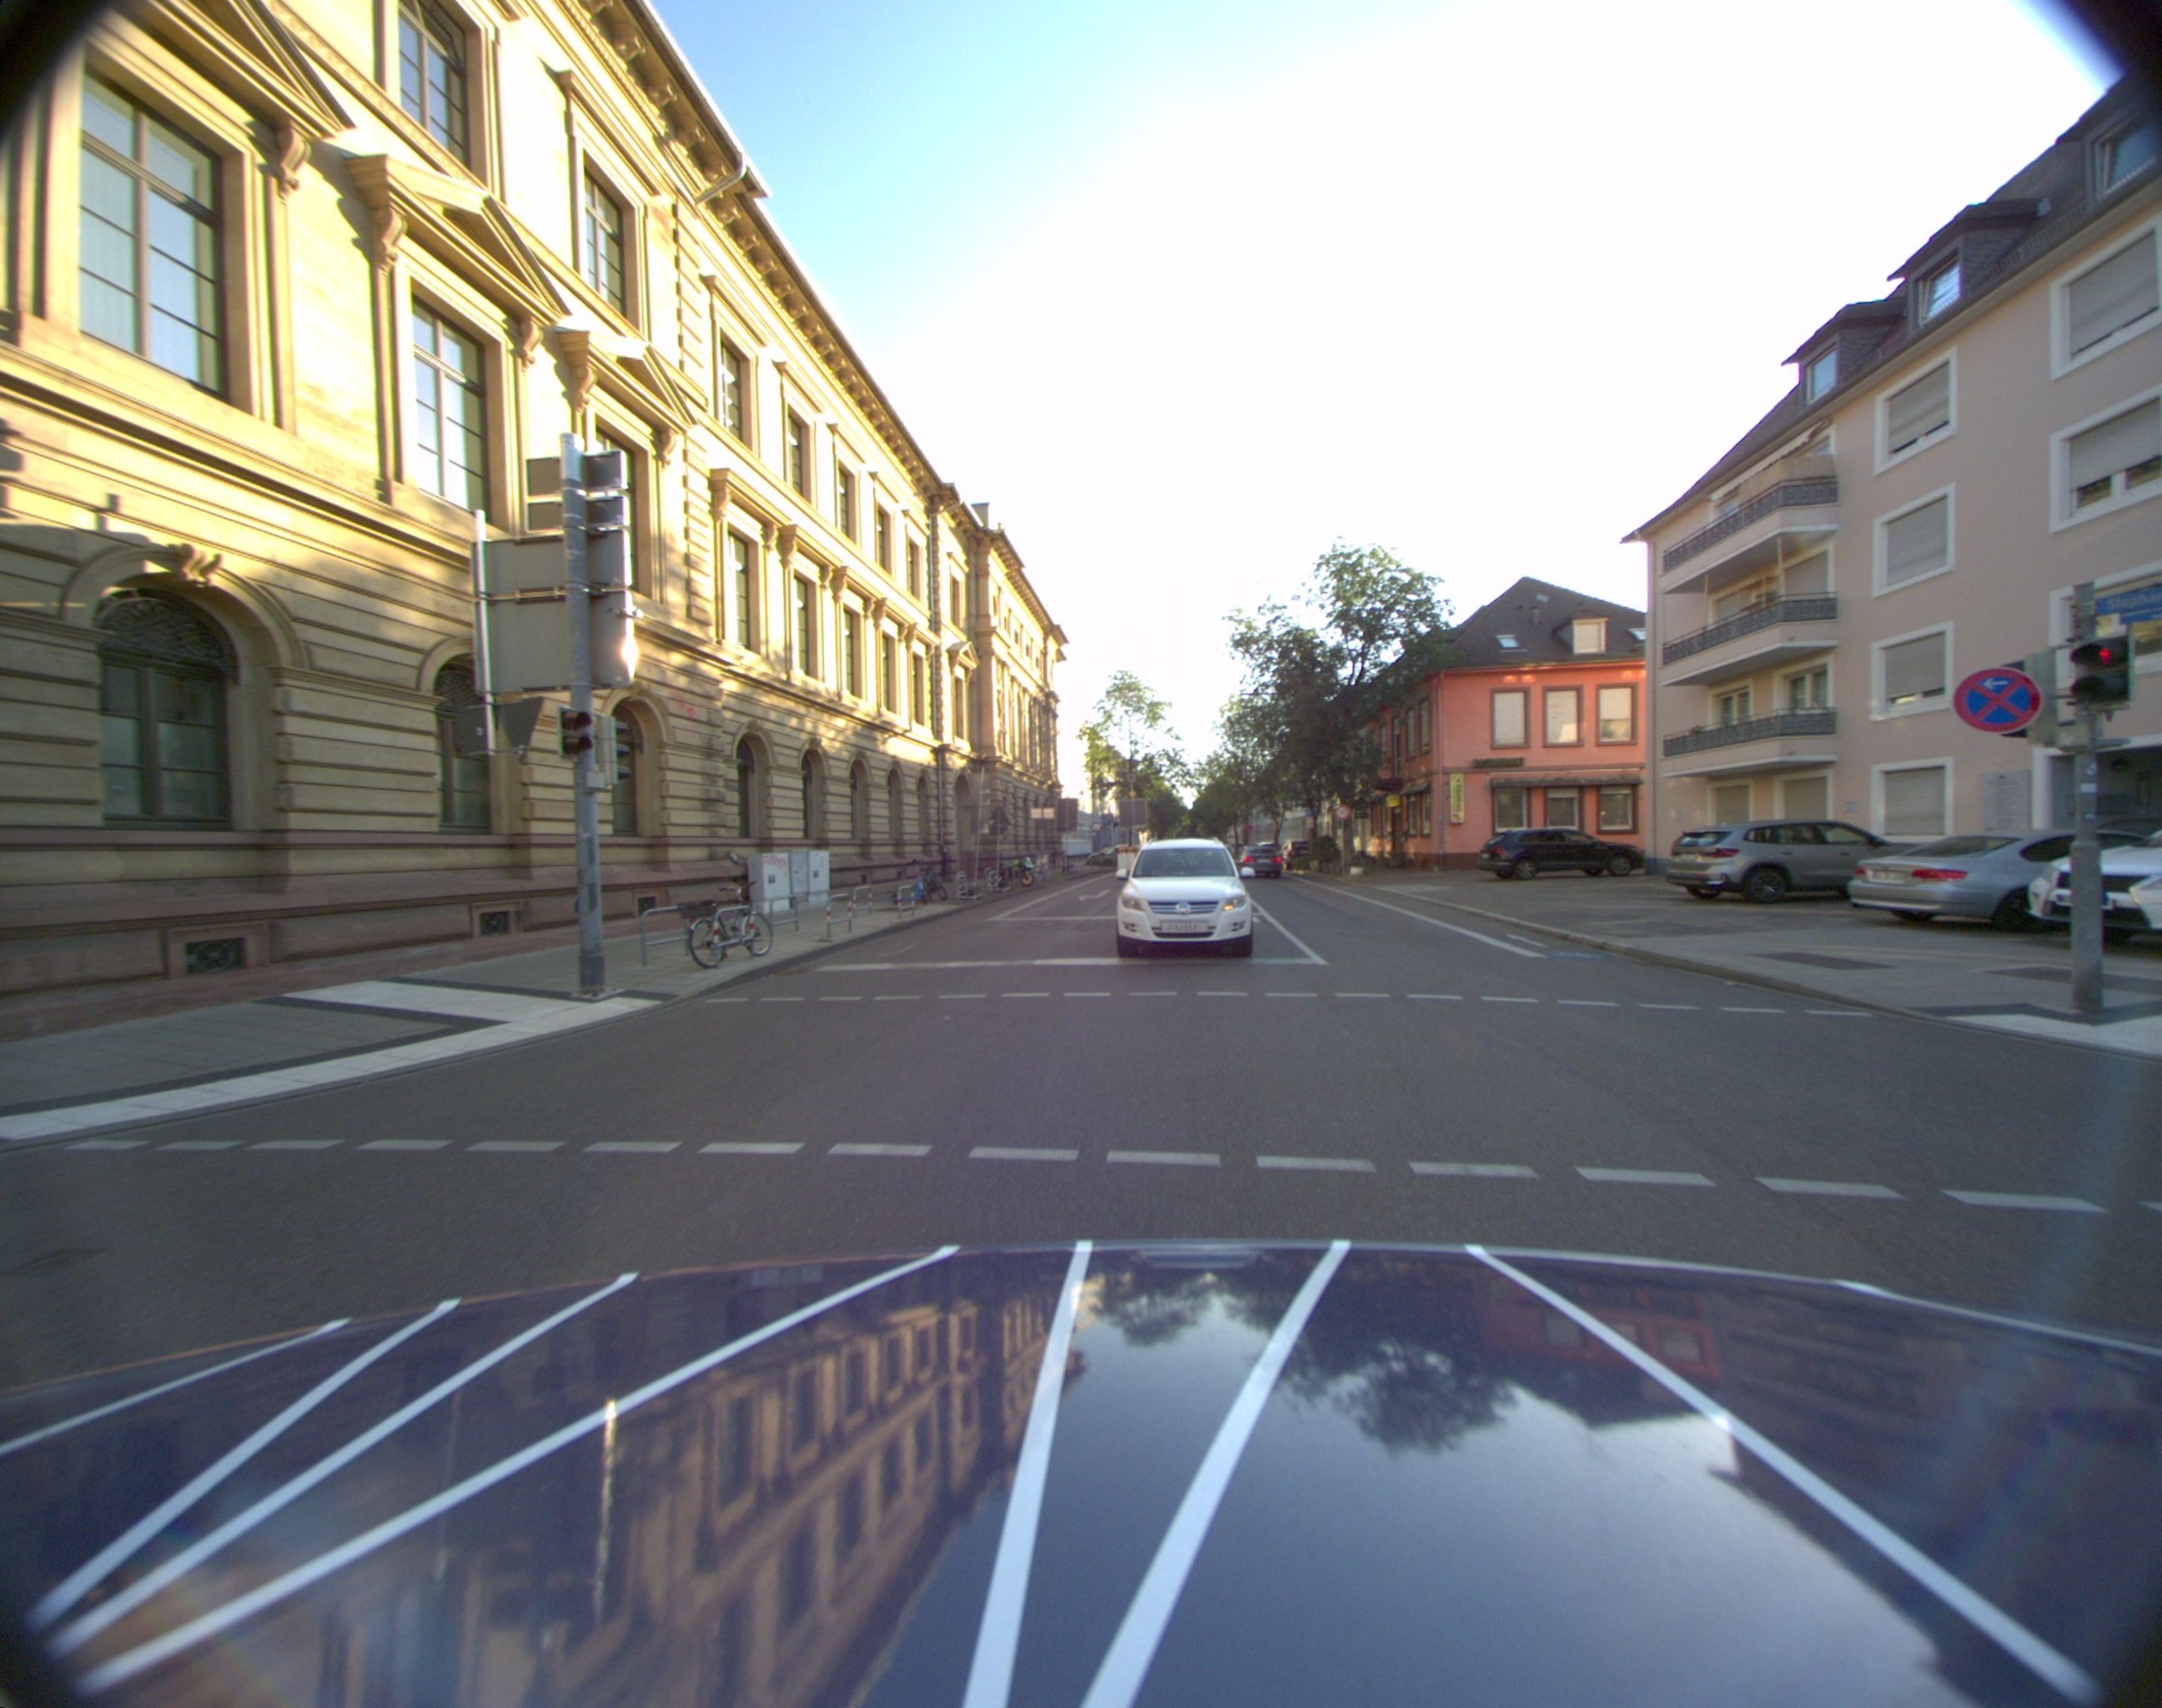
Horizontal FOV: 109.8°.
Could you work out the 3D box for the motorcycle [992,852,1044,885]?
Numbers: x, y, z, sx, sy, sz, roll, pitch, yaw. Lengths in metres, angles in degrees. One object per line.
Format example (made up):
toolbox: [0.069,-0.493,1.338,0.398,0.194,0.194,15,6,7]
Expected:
motorcycle: [-2.513,0.565,30.001,2.098,1.208,0.711,2,2,38]

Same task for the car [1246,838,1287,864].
car: [13.365,-0.277,54.936,1.832,1.659,4.656,-5,1,2]

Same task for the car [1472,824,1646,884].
car: [15.517,-0.005,24.882,4.427,1.656,1.864,-3,1,7]

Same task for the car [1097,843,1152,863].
car: [3.589,-0.098,62.430,4.365,1.487,1.673,1,2,8]

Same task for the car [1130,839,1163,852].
car: [8.817,-1.150,102.407,4.366,1.768,1.734,1,2,6]

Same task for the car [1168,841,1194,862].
car: [7.869,-0.224,59.862,1.950,1.547,4.001,-1,1,6]

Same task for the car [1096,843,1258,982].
car: [1.504,0.695,11.647,1.956,1.667,4.544,-1,1,8]

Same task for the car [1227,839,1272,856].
car: [16.265,-0.588,73.463,4.226,1.537,1.802,-1,1,11]

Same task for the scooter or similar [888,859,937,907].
scooter or similar: [-4.462,0.745,20.093,1.131,1.189,0.585,2,3,26]

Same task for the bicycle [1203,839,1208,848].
bicycle: [18.297,-1.530,111.939,0.626,1.149,2.053,-1,3,8]

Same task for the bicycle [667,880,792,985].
bicycle: [-4.825,1.030,10.600,0.583,1.182,1.920,-1,3,8]

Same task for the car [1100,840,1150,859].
car: [3.994,-0.410,68.898,4.366,1.633,2.055,1,2,6]

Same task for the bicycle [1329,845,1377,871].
bicycle: [11.954,0.173,33.368,1.871,1.098,0.610,-2,2,2]

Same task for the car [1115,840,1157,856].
car: [5.814,-0.612,79.675,4.366,1.615,1.734,1,2,6]

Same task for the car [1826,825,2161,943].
car: [13.636,0.377,10.723,4.275,1.372,1.736,-3,1,7]

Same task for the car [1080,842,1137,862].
car: [2.177,-0.159,59.967,4.366,1.456,1.834,1,2,4]

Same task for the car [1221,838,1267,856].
car: [16.322,-0.698,76.215,4.228,1.680,1.801,-1,1,5]

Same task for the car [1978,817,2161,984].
car: [13.186,0.372,8.156,4.449,1.631,1.943,-3,1,7]

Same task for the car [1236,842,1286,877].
car: [8.166,0.204,34.752,1.785,1.451,4.425,0,2,8]

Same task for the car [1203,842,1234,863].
car: [10.089,-0.129,55.934,1.834,1.536,4.849,0,1,5]

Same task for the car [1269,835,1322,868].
car: [12.983,-0.165,46.372,1.832,1.749,5.048,-5,1,2]

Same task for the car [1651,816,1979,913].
car: [14.398,0.198,15.166,4.427,1.596,1.917,-3,1,7]

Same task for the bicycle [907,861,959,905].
bicycle: [-4.166,0.793,21.500,0.828,1.128,1.945,2,1,8]

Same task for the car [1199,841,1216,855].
car: [14.116,-0.686,84.758,1.661,1.463,3.855,0,0,6]

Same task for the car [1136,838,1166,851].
car: [10.526,-1.448,113.926,4.366,1.863,1.734,0,1,6]

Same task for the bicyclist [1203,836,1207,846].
bicyclist: [18.288,-1.893,111.903,0.626,1.357,0.929,-1,3,8]
